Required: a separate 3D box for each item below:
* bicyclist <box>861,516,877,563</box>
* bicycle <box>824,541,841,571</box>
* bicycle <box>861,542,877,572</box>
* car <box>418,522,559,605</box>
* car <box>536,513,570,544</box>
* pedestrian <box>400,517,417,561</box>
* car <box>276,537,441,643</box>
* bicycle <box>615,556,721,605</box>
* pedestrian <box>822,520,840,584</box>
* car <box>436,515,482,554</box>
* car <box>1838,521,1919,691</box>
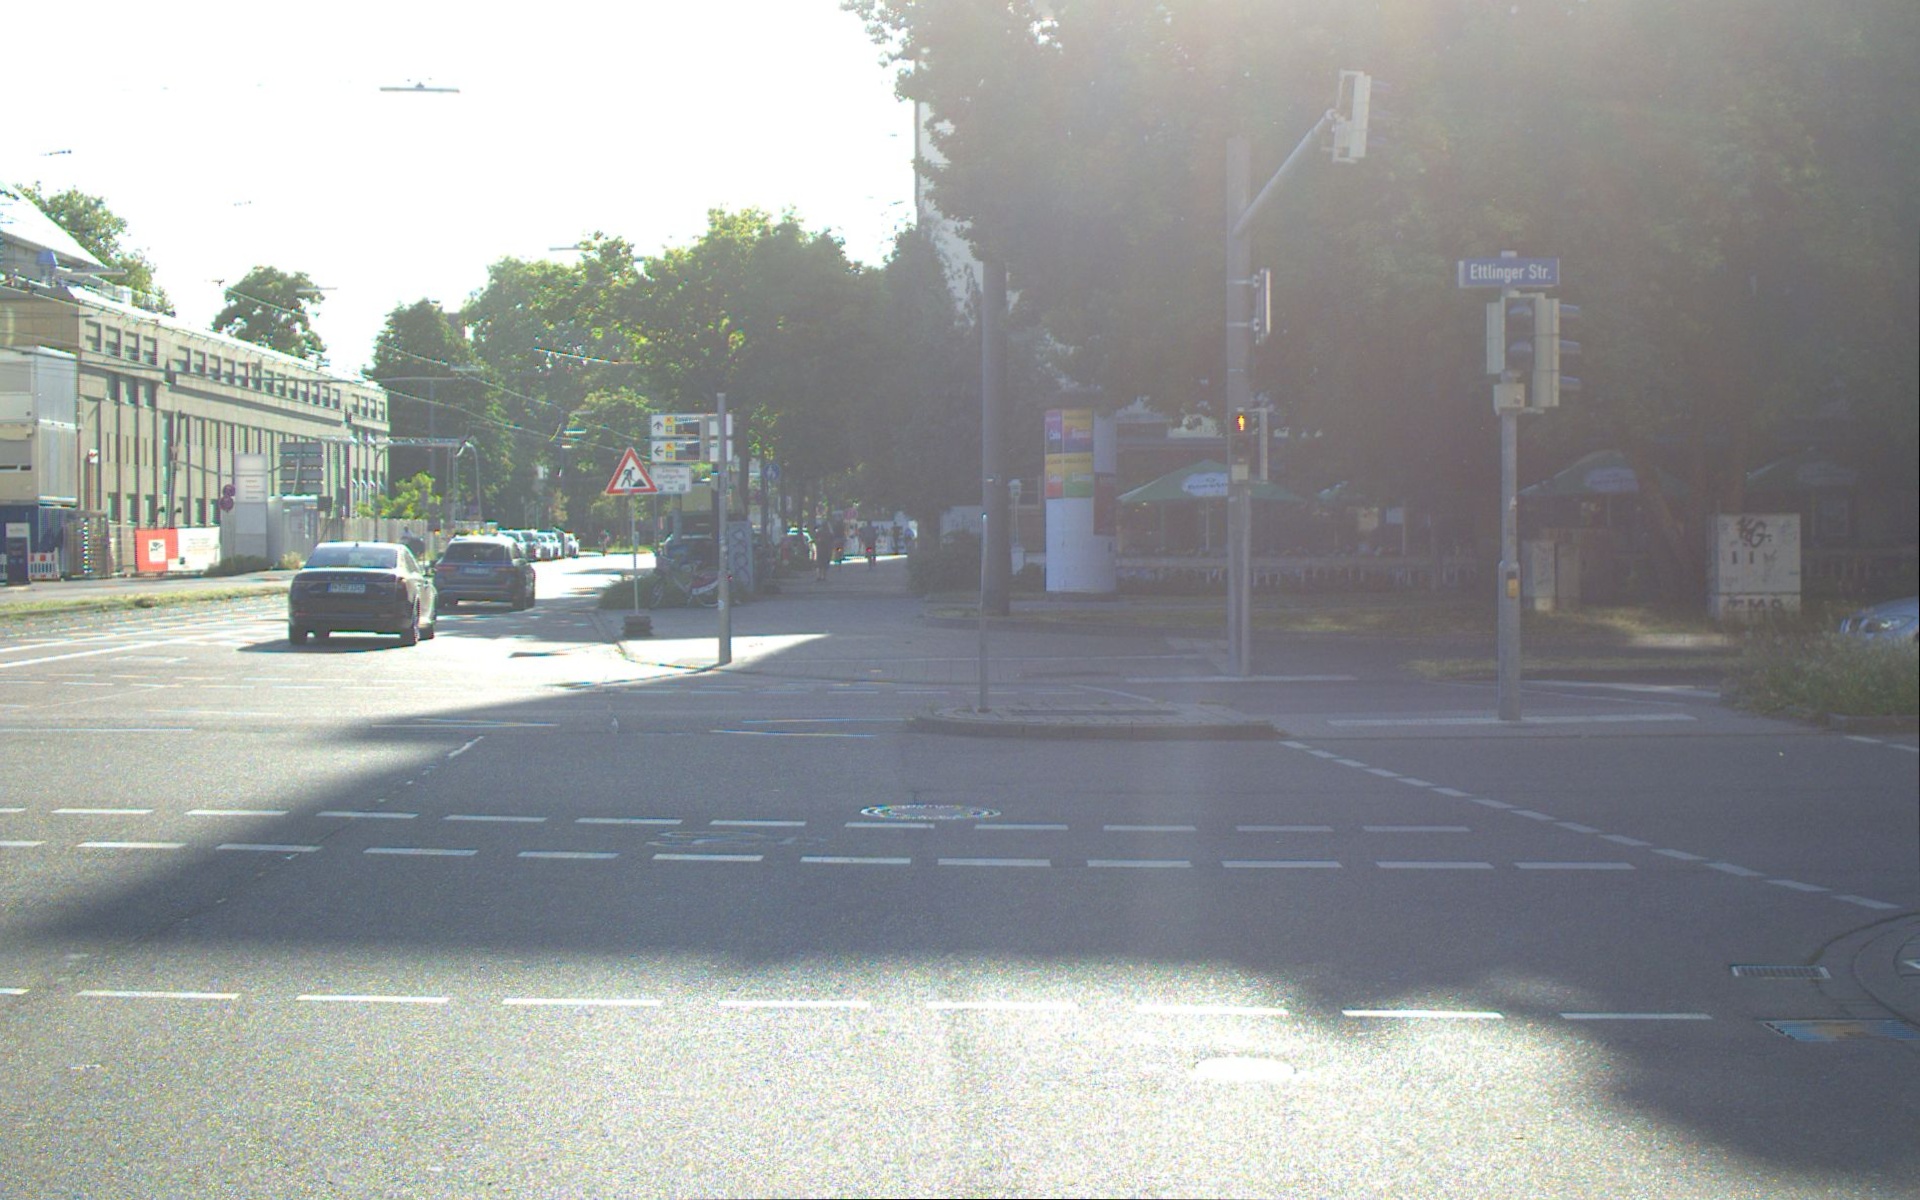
[{"bbox_3d":[-3.292,-2.176,124.360,0.569,1.685,0.700,0,1,-1],"label":"bicyclist"},{"bbox_3d":[-4.607,-1.589,124.128,0.575,1.073,1.831,0,1,-1],"label":"bicycle"},{"bbox_3d":[-3.290,-1.575,124.370,0.575,1.073,1.831,0,1,-1],"label":"bicycle"},{"bbox_3d":[-9.580,-0.770,70.236,1.892,1.560,4.807,3,1,3],"label":"car"},{"bbox_3d":[-23.022,-4.026,194.696,1.692,1.712,4.248,1,1,-4],"label":"car"},{"bbox_3d":[-25.643,-2.837,159.905,0.674,2.007,0.751,1,0,-3],"label":"pedestrian"},{"bbox_3d":[-8.668,-0.175,49.855,1.660,1.450,4.432,1,1,-1],"label":"car"},{"bbox_3d":[-5.734,-0.382,67.486,2.018,0.888,0.650,-2,0,27],"label":"bicycle"},{"bbox_3d":[-3.691,-1.378,98.309,0.463,1.807,0.503,0,1,-5],"label":"pedestrian"},{"bbox_3d":[-22.782,-2.962,156.450,1.692,1.712,4.248,1,1,-4],"label":"car"},{"bbox_3d":[10.752,0.022,33.418,3.993,1.605,1.650,-1,1,-1],"label":"car"}]
